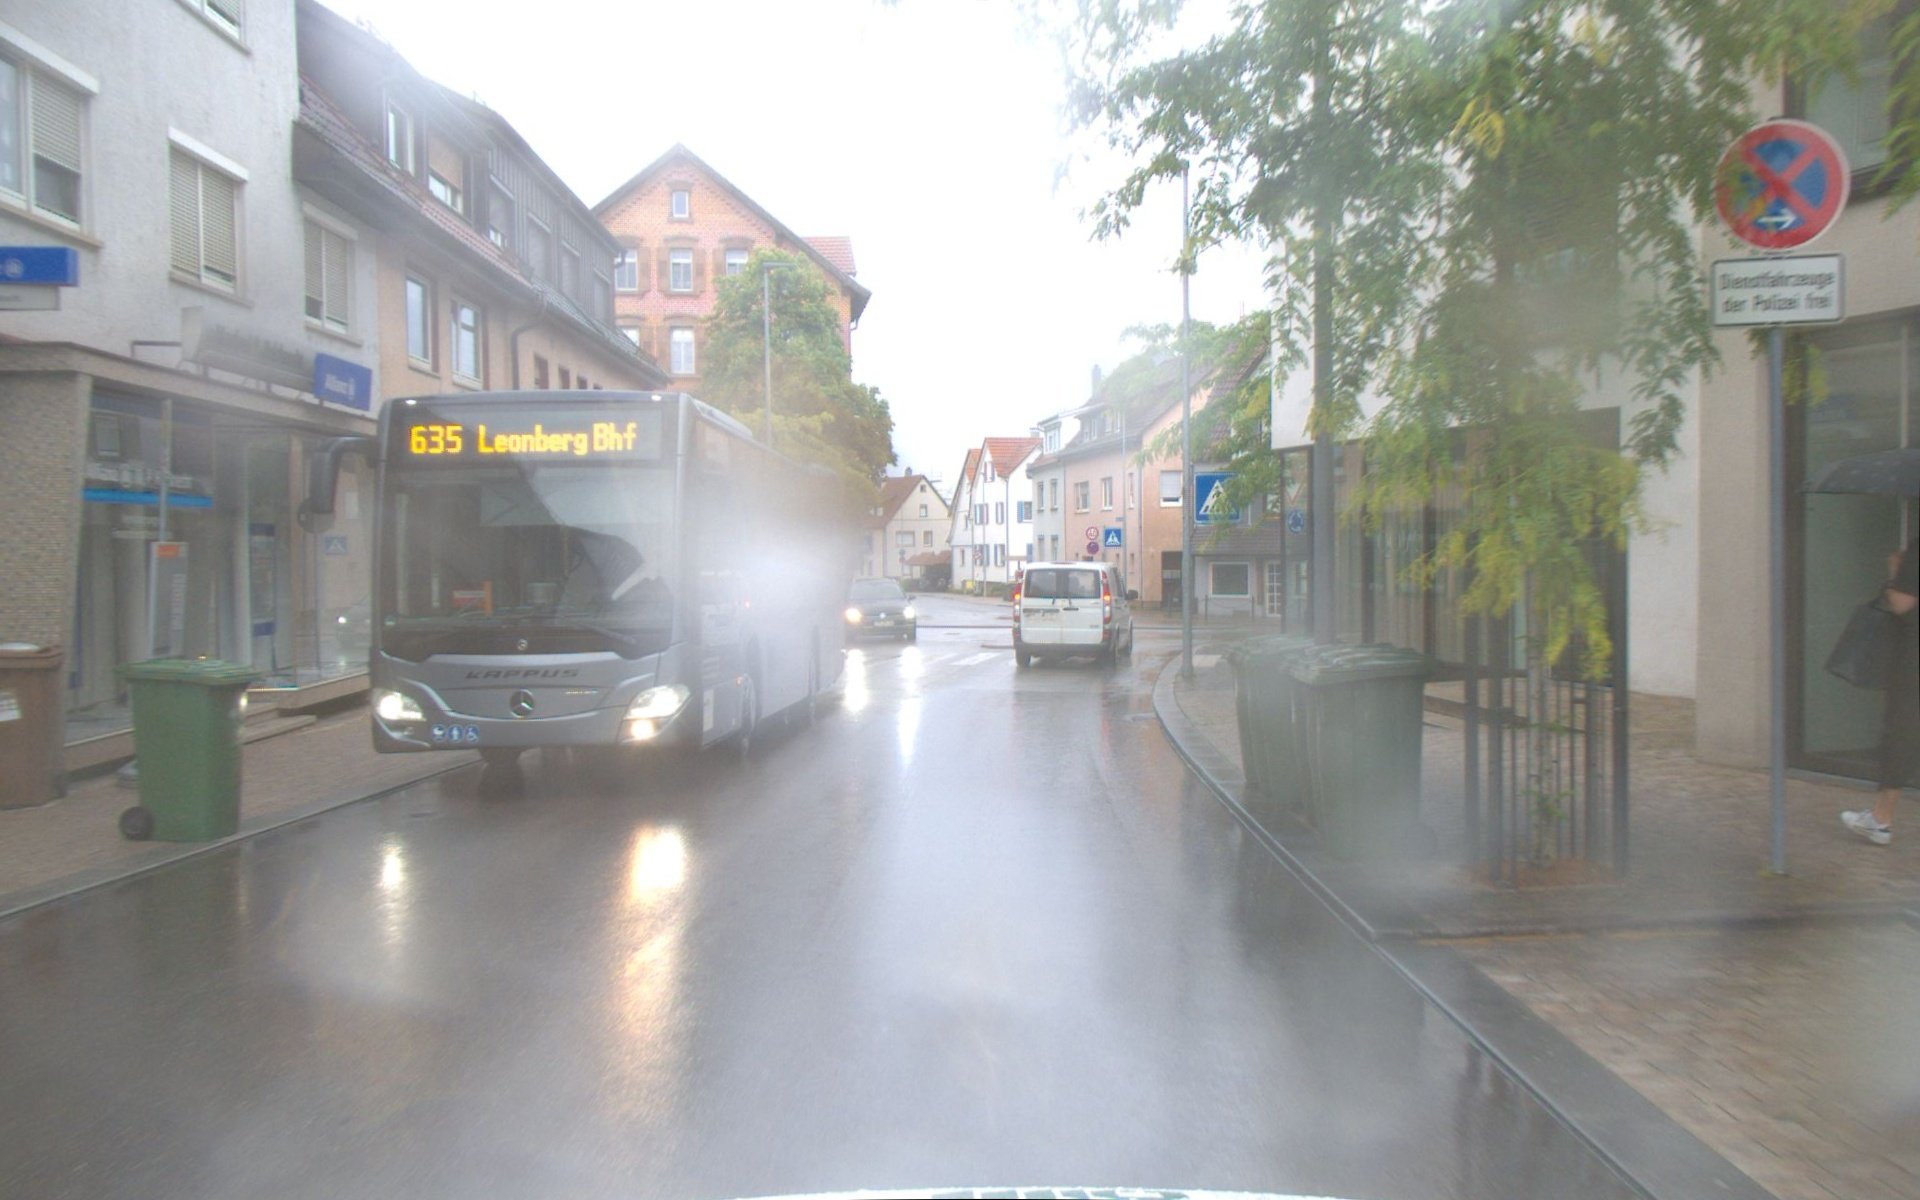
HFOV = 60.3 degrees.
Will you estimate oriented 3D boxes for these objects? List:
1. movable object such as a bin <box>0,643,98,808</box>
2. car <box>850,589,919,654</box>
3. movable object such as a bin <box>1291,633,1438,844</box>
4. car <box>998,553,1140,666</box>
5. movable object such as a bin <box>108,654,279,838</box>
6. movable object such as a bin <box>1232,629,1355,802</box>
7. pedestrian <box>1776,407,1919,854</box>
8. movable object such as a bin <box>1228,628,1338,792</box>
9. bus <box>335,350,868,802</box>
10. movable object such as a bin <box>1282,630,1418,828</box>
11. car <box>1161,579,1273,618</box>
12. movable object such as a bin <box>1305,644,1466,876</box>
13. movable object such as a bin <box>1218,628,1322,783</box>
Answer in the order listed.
[{"bbox_3d":[-6.467,0.841,11.309,0.777,1.078,0.701,0,0,-2],"label":"movable object such as a bin"},{"bbox_3d":[-1.845,0.489,41.121,1.631,1.455,4.467,0,1,-2],"label":"car"},{"bbox_3d":[2.392,0.807,9.845,0.736,1.191,0.631,-1,0,5],"label":"movable object such as a bin"},{"bbox_3d":[2.139,0.173,31.027,2.106,1.932,4.929,0,0,10],"label":"car"},{"bbox_3d":[-4.748,0.891,10.290,0.726,1.078,0.726,0,0,-2],"label":"movable object such as a bin"},{"bbox_3d":[2.285,0.779,11.383,0.746,1.137,0.624,0,0,2],"label":"movable object such as a bin"},{"bbox_3d":[4.721,0.145,8.146,0.850,2.049,1.082,0,-1,-3],"label":"pedestrian"},{"bbox_3d":[2.331,0.783,11.995,0.708,1.137,0.577,0,0,2],"label":"movable object such as a bin"},{"bbox_3d":[-2.811,-0.227,16.995,2.667,3.133,10.950,0,1,2],"label":"bus"},{"bbox_3d":[2.461,0.804,10.506,0.736,1.191,0.631,-1,0,5],"label":"movable object such as a bin"},{"bbox_3d":[10.035,-0.052,64.763,3.918,1.512,1.993,0,0,-13],"label":"car"},{"bbox_3d":[2.302,0.852,9.013,0.736,1.191,0.631,-1,0,5],"label":"movable object such as a bin"},{"bbox_3d":[2.348,0.787,12.582,0.708,1.137,0.577,0,0,2],"label":"movable object such as a bin"}]
